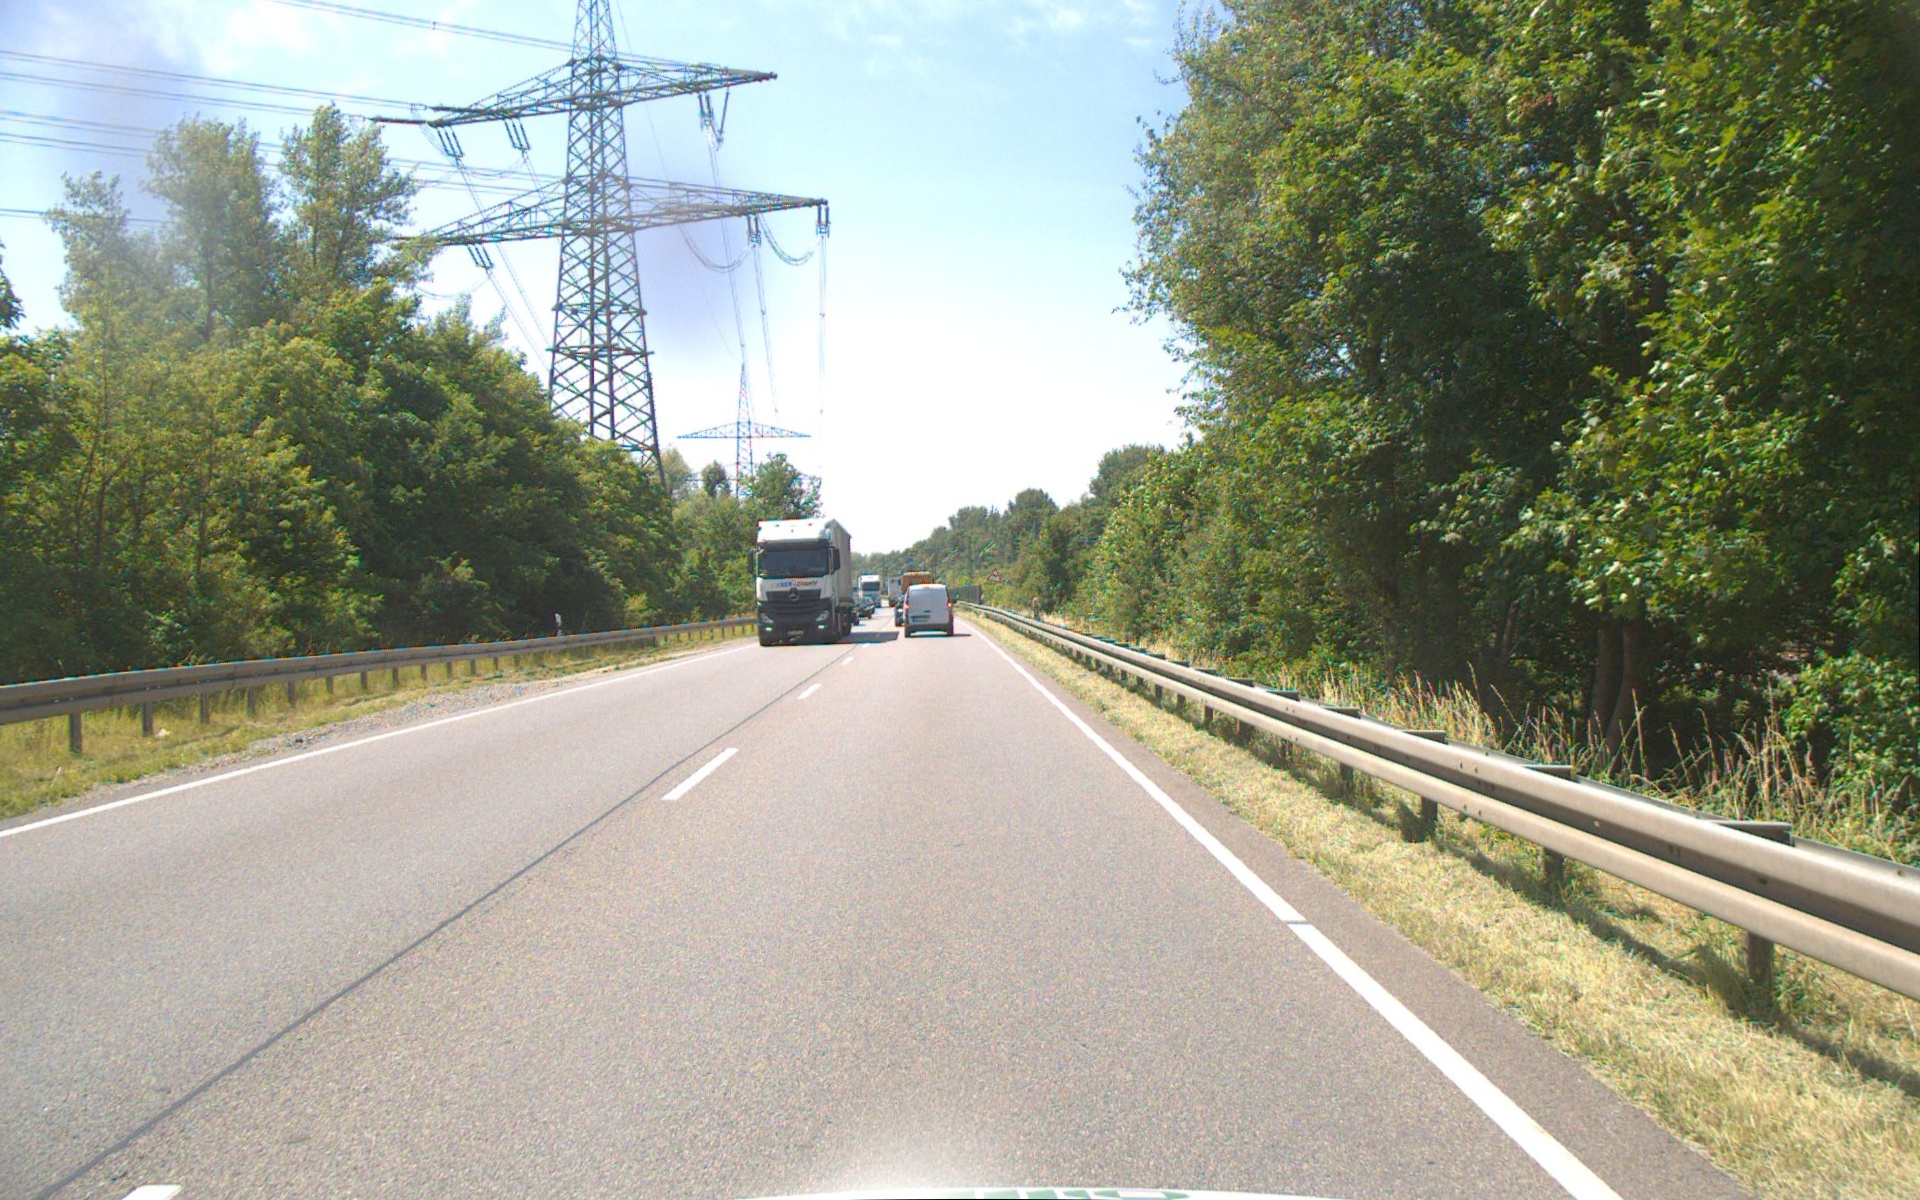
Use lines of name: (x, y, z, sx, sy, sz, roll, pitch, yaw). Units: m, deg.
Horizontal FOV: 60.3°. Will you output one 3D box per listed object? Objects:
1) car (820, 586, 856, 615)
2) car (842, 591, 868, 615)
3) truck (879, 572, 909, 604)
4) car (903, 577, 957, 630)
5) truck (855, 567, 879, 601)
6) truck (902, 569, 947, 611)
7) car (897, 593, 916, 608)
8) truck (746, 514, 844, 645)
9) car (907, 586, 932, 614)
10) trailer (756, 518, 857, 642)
car: (-6.451, -0.003, 87.571, 1.600, 1.462, 4.180, 1, 1, 0)
car: (-6.893, 0.217, 108.893, 1.601, 1.462, 4.412, -2, 0, -3)
truck: (-8.655, -1.598, 215.442, 3.335, 3.922, 16.804, 1, 1, -4)
car: (-1.062, 0.109, 58.264, 1.837, 1.772, 3.999, -1, 0, -1)
truck: (-11.744, -1.997, 209.859, 2.688, 4.112, 9.660, -3, 0, -2)
truck: (-3.016, -0.892, 137.193, 3.231, 3.227, 14.396, 1, 1, -3)
car: (-5.958, 0.073, 182.778, 1.954, 1.553, 3.998, -2, 0, -3)
truck: (-5.373, -0.648, 54.778, 2.707, 4.069, 5.905, -1, 0, -1)
car: (-3.067, -0.022, 125.599, 1.728, 2.049, 3.997, -1, 0, -3)
trailer: (-5.488, -0.661, 61.499, 2.707, 4.069, 13.683, 1, 0, -1)
